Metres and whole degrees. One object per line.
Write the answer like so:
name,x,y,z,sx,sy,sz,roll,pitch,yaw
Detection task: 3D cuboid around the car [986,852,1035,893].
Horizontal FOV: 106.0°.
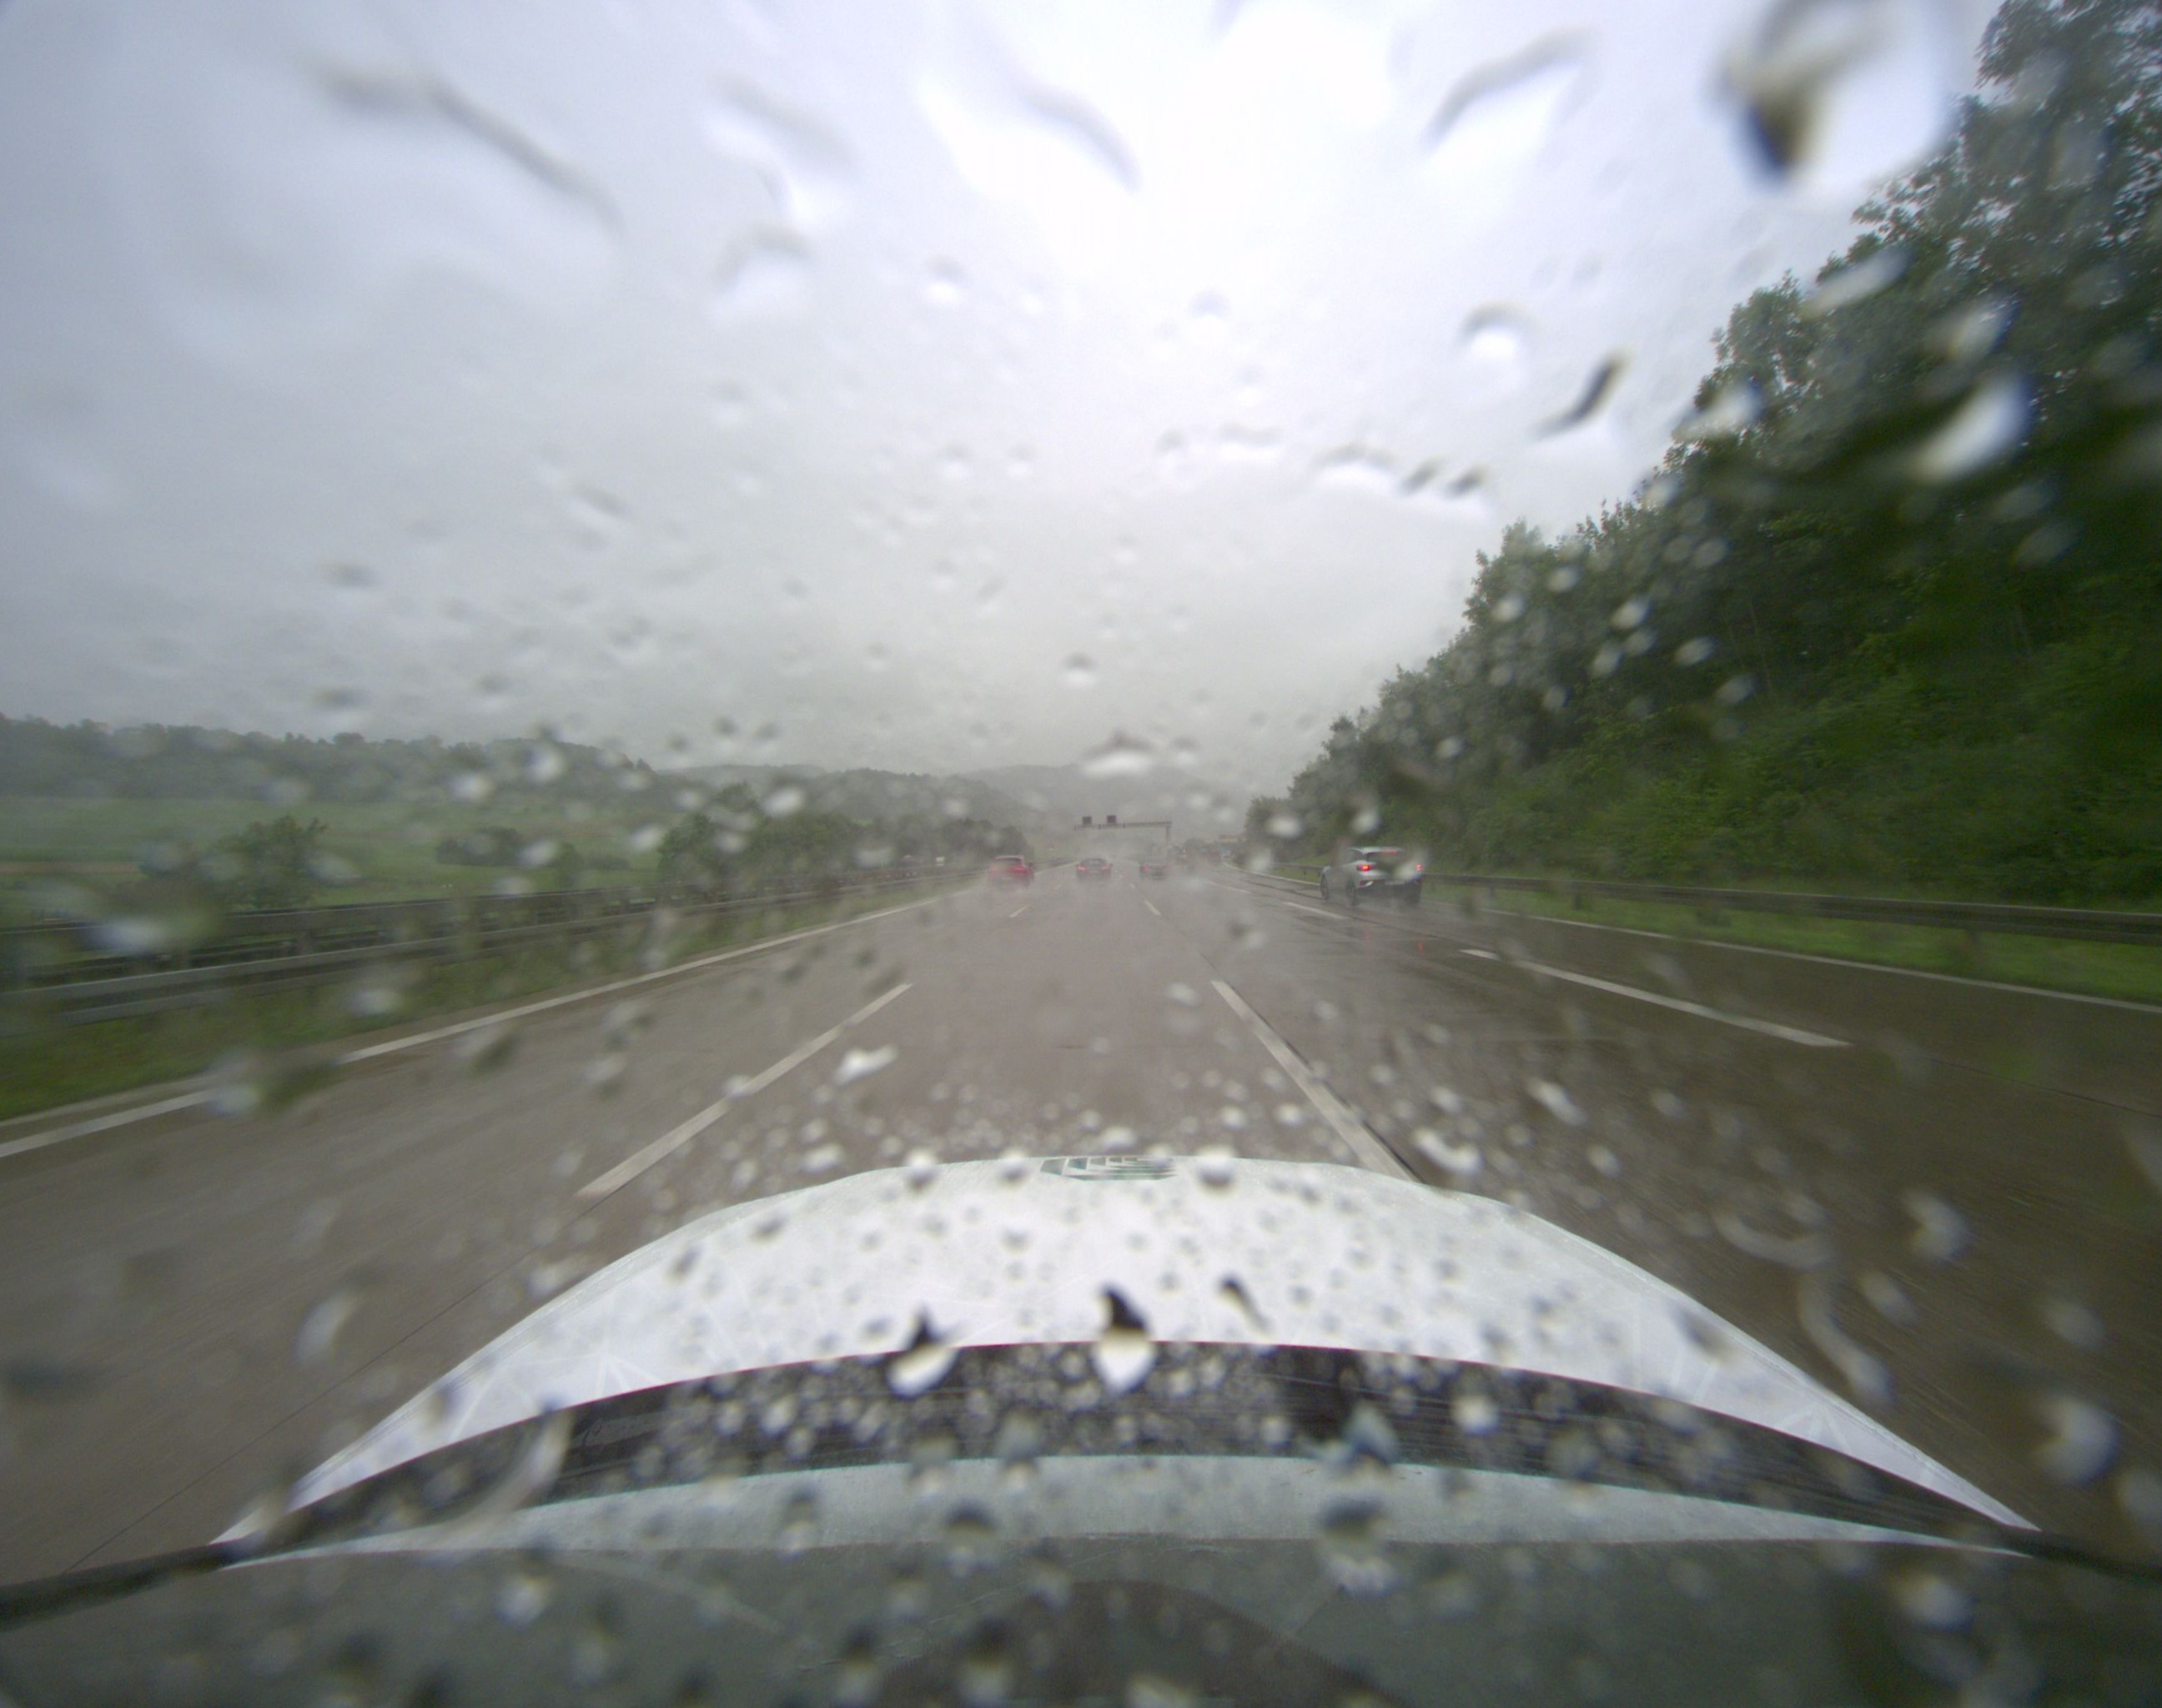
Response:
car,-3.309,0.836,38.895,1.878,1.816,4.001,-2,0,1

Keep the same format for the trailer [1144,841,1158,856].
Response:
trailer,21.079,-1.541,245.698,3.502,4.261,11.927,0,0,3

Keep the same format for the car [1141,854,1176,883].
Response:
car,4.970,0.889,52.472,1.964,1.760,4.002,-1,0,2

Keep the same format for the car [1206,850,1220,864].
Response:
car,19.760,0.471,121.659,1.981,2.013,5.068,-1,0,9

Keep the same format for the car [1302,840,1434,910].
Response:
car,8.083,0.551,23.589,1.986,1.750,5.665,0,0,2

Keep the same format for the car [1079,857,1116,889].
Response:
car,0.894,0.960,42.754,1.852,1.589,4.002,0,0,2

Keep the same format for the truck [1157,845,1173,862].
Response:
truck,22.135,-0.200,215.251,3.388,4.402,11.054,0,0,2
